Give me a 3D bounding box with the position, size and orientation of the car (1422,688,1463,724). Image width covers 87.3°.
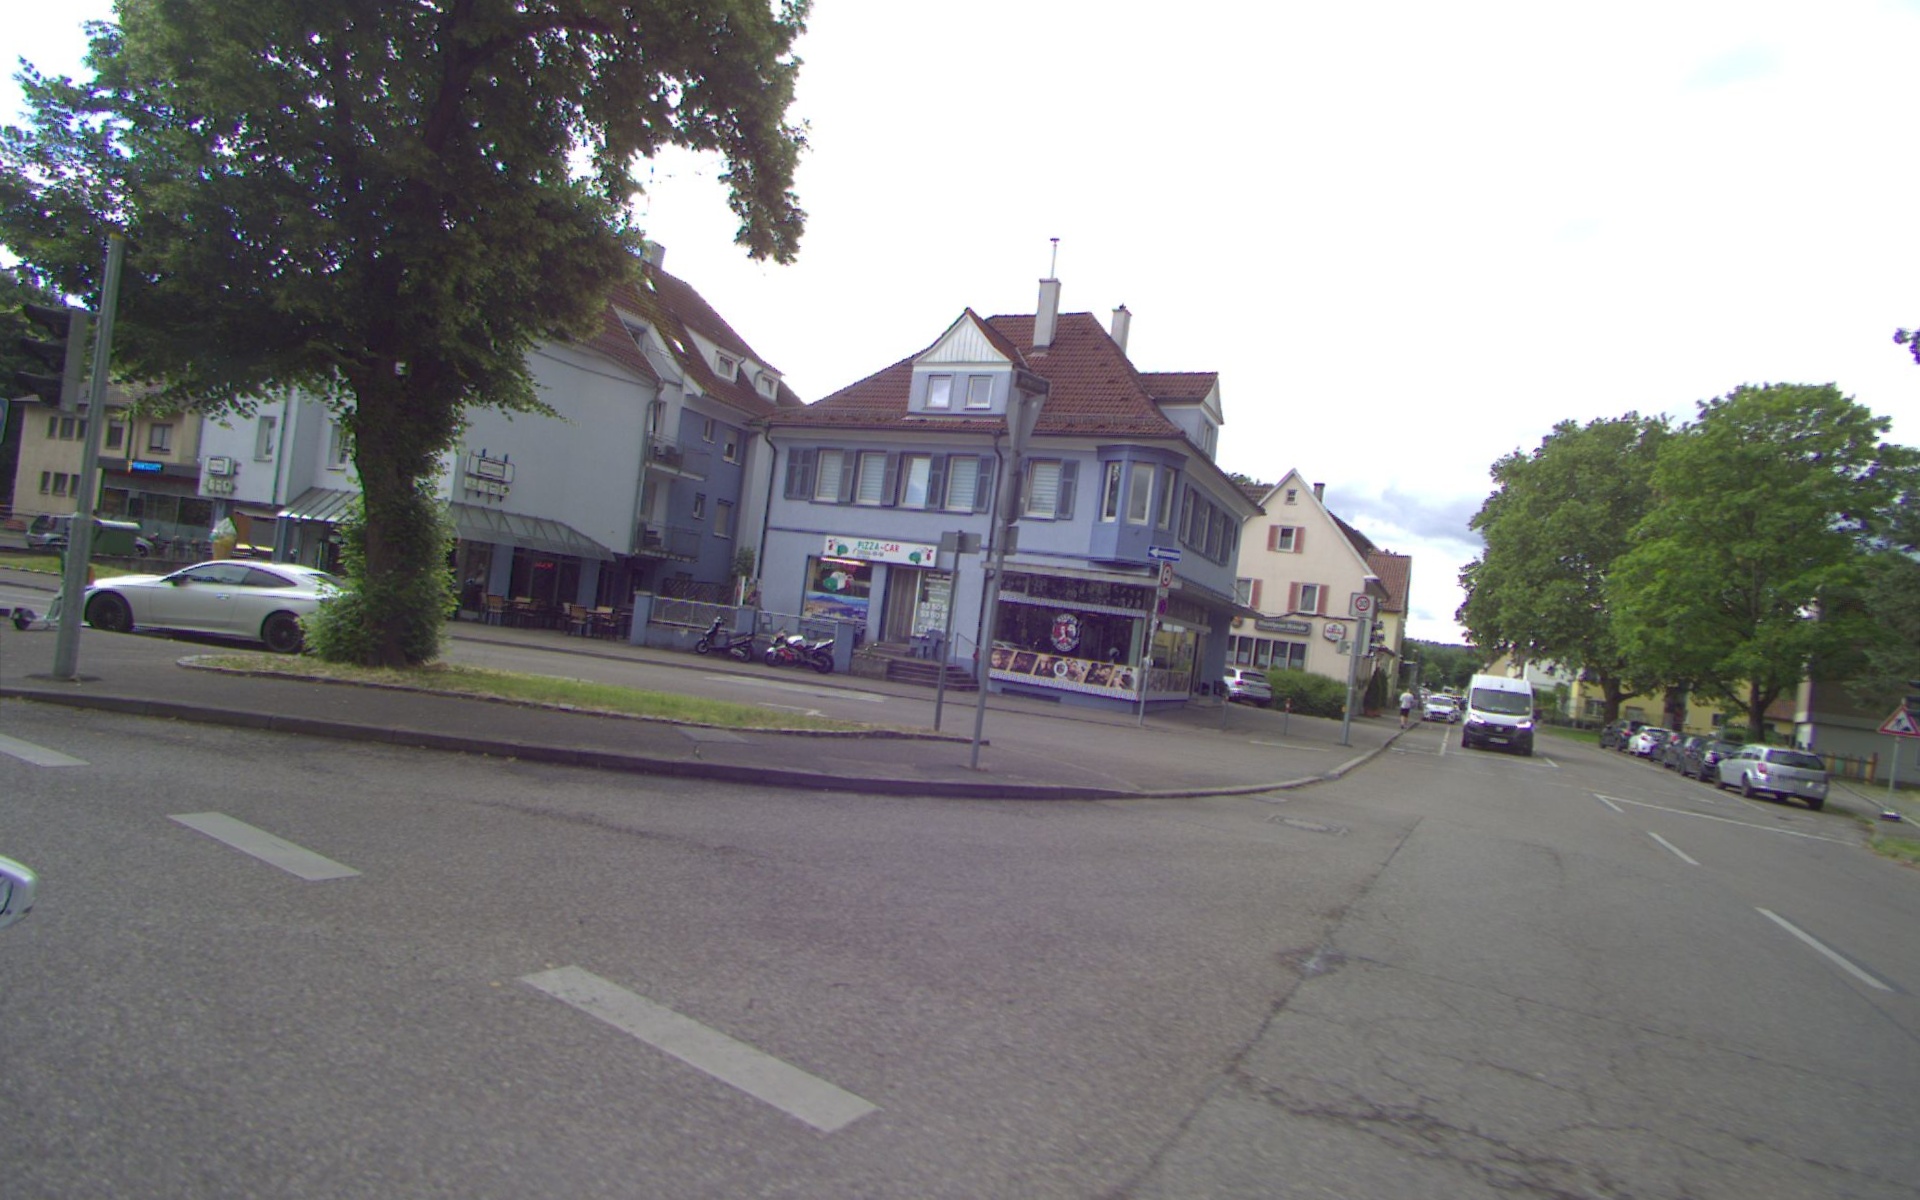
[{"bbox_3d":[28.304,6.191,59.068,1.904,1.748,3.780,7,-1,25],"label":"car"}]

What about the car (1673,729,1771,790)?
[{"bbox_3d":[25.188,5.223,33.375,1.770,1.473,3.956,7,-2,27],"label":"car"}]

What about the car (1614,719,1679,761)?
[{"bbox_3d":[32.449,6.581,47.684,1.891,1.473,4.398,6,-2,28],"label":"car"}]

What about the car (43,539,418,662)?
[{"bbox_3d":[-12.135,0.028,17.016,4.701,1.403,2.000,7,-1,-2],"label":"car"}]

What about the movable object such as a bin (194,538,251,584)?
[{"bbox_3d":[-26.365,-1.379,35.966,1.076,1.433,1.216,6,0,32],"label":"movable object such as a bin"}]

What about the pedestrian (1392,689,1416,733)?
[{"bbox_3d":[18.614,4.634,42.194,0.743,1.717,0.646,7,0,24],"label":"pedestrian"}]

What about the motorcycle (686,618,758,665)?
[{"bbox_3d":[-6.343,1.106,26.862,1.692,1.044,0.490,7,0,6],"label":"motorcycle"}]

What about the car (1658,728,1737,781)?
[{"bbox_3d":[27.460,5.720,37.564,1.682,1.504,3.756,6,-1,28],"label":"car"}]

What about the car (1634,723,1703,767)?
[{"bbox_3d":[29.693,6.051,42.259,1.709,1.406,3.738,6,-2,28],"label":"car"}]

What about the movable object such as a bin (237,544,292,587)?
[{"bbox_3d":[-25.649,-1.267,37.118,1.142,1.412,1.216,6,0,32],"label":"movable object such as a bin"}]

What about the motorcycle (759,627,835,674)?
[{"bbox_3d":[-4.281,1.332,26.412,1.788,0.997,0.522,7,0,6],"label":"motorcycle"}]

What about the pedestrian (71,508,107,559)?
[{"bbox_3d":[-32.558,-2.481,37.610,0.600,1.750,0.689,6,0,22],"label":"pedestrian"}]

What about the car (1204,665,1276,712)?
[{"bbox_3d":[11.534,3.626,41.607,1.544,1.479,3.437,7,-1,-6],"label":"car"}]

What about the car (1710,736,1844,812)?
[{"bbox_3d":[22.589,4.748,28.008,1.867,1.473,4.543,6,-2,28],"label":"car"}]

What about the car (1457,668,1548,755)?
[{"bbox_3d":[18.503,3.738,34.489,2.296,2.420,5.954,7,-1,28],"label":"car"}]

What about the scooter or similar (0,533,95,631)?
[{"bbox_3d":[-12.089,-0.208,13.242,0.406,1.179,1.359,7,-3,-16],"label":"scooter or similar"}]

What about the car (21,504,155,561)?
[{"bbox_3d":[-33.117,-2.535,38.294,1.596,1.650,3.421,6,-1,28],"label":"car"}]

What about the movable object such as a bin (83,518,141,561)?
[{"bbox_3d":[-31.422,-2.233,37.298,0.977,1.361,1.220,6,0,22],"label":"movable object such as a bin"}]
